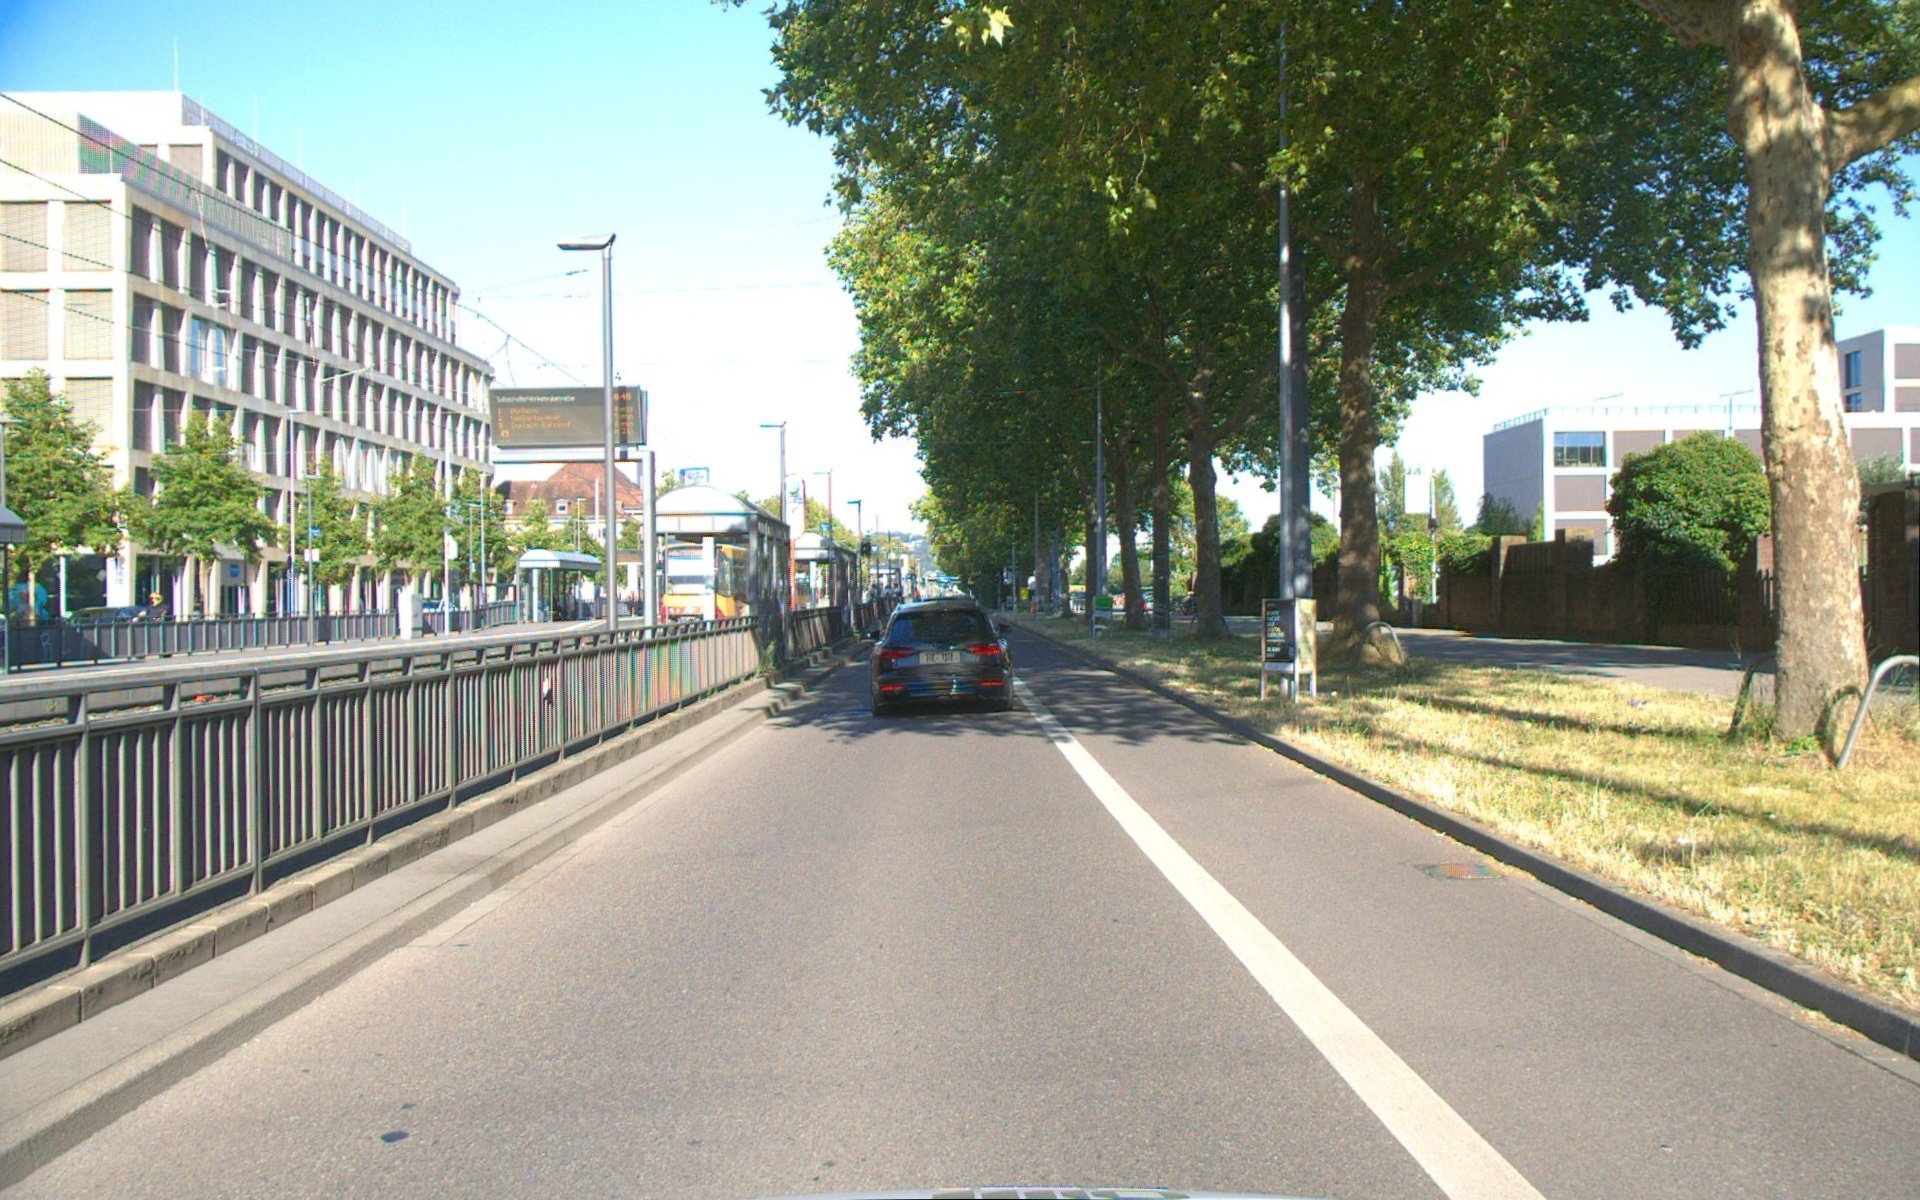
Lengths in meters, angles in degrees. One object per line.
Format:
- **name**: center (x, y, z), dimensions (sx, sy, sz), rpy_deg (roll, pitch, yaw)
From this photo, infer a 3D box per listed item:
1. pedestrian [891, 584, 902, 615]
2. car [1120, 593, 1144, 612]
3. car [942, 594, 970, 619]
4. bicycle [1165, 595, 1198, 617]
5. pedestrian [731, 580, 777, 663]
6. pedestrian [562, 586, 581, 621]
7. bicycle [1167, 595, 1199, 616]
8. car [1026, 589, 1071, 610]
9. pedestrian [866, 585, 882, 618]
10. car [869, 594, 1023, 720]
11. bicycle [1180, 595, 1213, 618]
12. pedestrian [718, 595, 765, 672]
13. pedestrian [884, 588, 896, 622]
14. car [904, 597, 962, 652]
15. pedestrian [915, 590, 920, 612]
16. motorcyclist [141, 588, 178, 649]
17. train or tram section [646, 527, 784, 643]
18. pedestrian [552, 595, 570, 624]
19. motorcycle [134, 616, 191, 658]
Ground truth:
- **pedestrian**: center (-3.702, -0.025, 96.668), dimensions (0.599, 1.815, 0.613), rpy_deg (-1, 0, 0)
- **car**: center (14.160, 0.225, 136.482), dimensions (1.581, 1.542, 3.803), rpy_deg (-1, 0, 0)
- **car**: center (-0.309, 0.454, 111.956), dimensions (1.727, 1.647, 3.998), rpy_deg (-1, 0, -2)
- **bicycle**: center (12.396, 0.326, 92.414), dimensions (1.737, 1.140, 0.439), rpy_deg (-2, 0, -1)
- **pedestrian**: center (-3.887, 0.409, 31.287), dimensions (0.730, 1.535, 0.666), rpy_deg (-1, 0, 2)
- **pedestrian**: center (-17.704, 0.153, 75.441), dimensions (0.601, 1.554, 0.725), rpy_deg (-1, 0, 8)
- **bicycle**: center (12.613, 0.312, 93.462), dimensions (1.737, 1.140, 0.439), rpy_deg (-2, 0, -1)
- **car**: center (7.752, -0.052, 145.285), dimensions (3.905, 1.795, 1.833), rpy_deg (-1, 0, 0)
- **pedestrian**: center (-4.086, 0.076, 78.479), dimensions (0.601, 1.576, 0.725), rpy_deg (-1, 0, 10)
- **car**: center (-0.242, 0.695, 22.036), dimensions (1.840, 1.482, 3.355), rpy_deg (-2, 0, -3)
- **bicycle**: center (12.482, 0.329, 87.178), dimensions (1.653, 1.140, 0.439), rpy_deg (-2, 0, -1)
- **pedestrian**: center (-3.740, 0.562, 28.346), dimensions (0.727, 1.296, 0.524), rpy_deg (-1, 0, -1)
- **pedestrian**: center (-3.562, 0.243, 84.208), dimensions (0.599, 1.698, 0.613), rpy_deg (-1, 0, 1)
- **car**: center (-0.884, 0.741, 52.495), dimensions (1.727, 1.647, 3.998), rpy_deg (-1, 0, -2)
- **pedestrian**: center (-3.444, 0.100, 133.685), dimensions (0.403, 1.747, 0.665), rpy_deg (0, 0, 0)
- **motorcyclist**: center (-21.050, 0.483, 43.490), dimensions (0.563, 1.560, 0.765), rpy_deg (-1, 0, 0)
- **train or tram section**: center (-9.070, -0.505, 63.230), dimensions (3.241, 3.896, 14.217), rpy_deg (-1, 0, 0)
- **pedestrian**: center (-17.580, 0.414, 72.855), dimensions (0.601, 1.282, 0.725), rpy_deg (-1, 0, 4)
- **motorcycle**: center (-21.031, 0.966, 43.634), dimensions (0.592, 1.039, 1.841), rpy_deg (-1, 0, 0)
